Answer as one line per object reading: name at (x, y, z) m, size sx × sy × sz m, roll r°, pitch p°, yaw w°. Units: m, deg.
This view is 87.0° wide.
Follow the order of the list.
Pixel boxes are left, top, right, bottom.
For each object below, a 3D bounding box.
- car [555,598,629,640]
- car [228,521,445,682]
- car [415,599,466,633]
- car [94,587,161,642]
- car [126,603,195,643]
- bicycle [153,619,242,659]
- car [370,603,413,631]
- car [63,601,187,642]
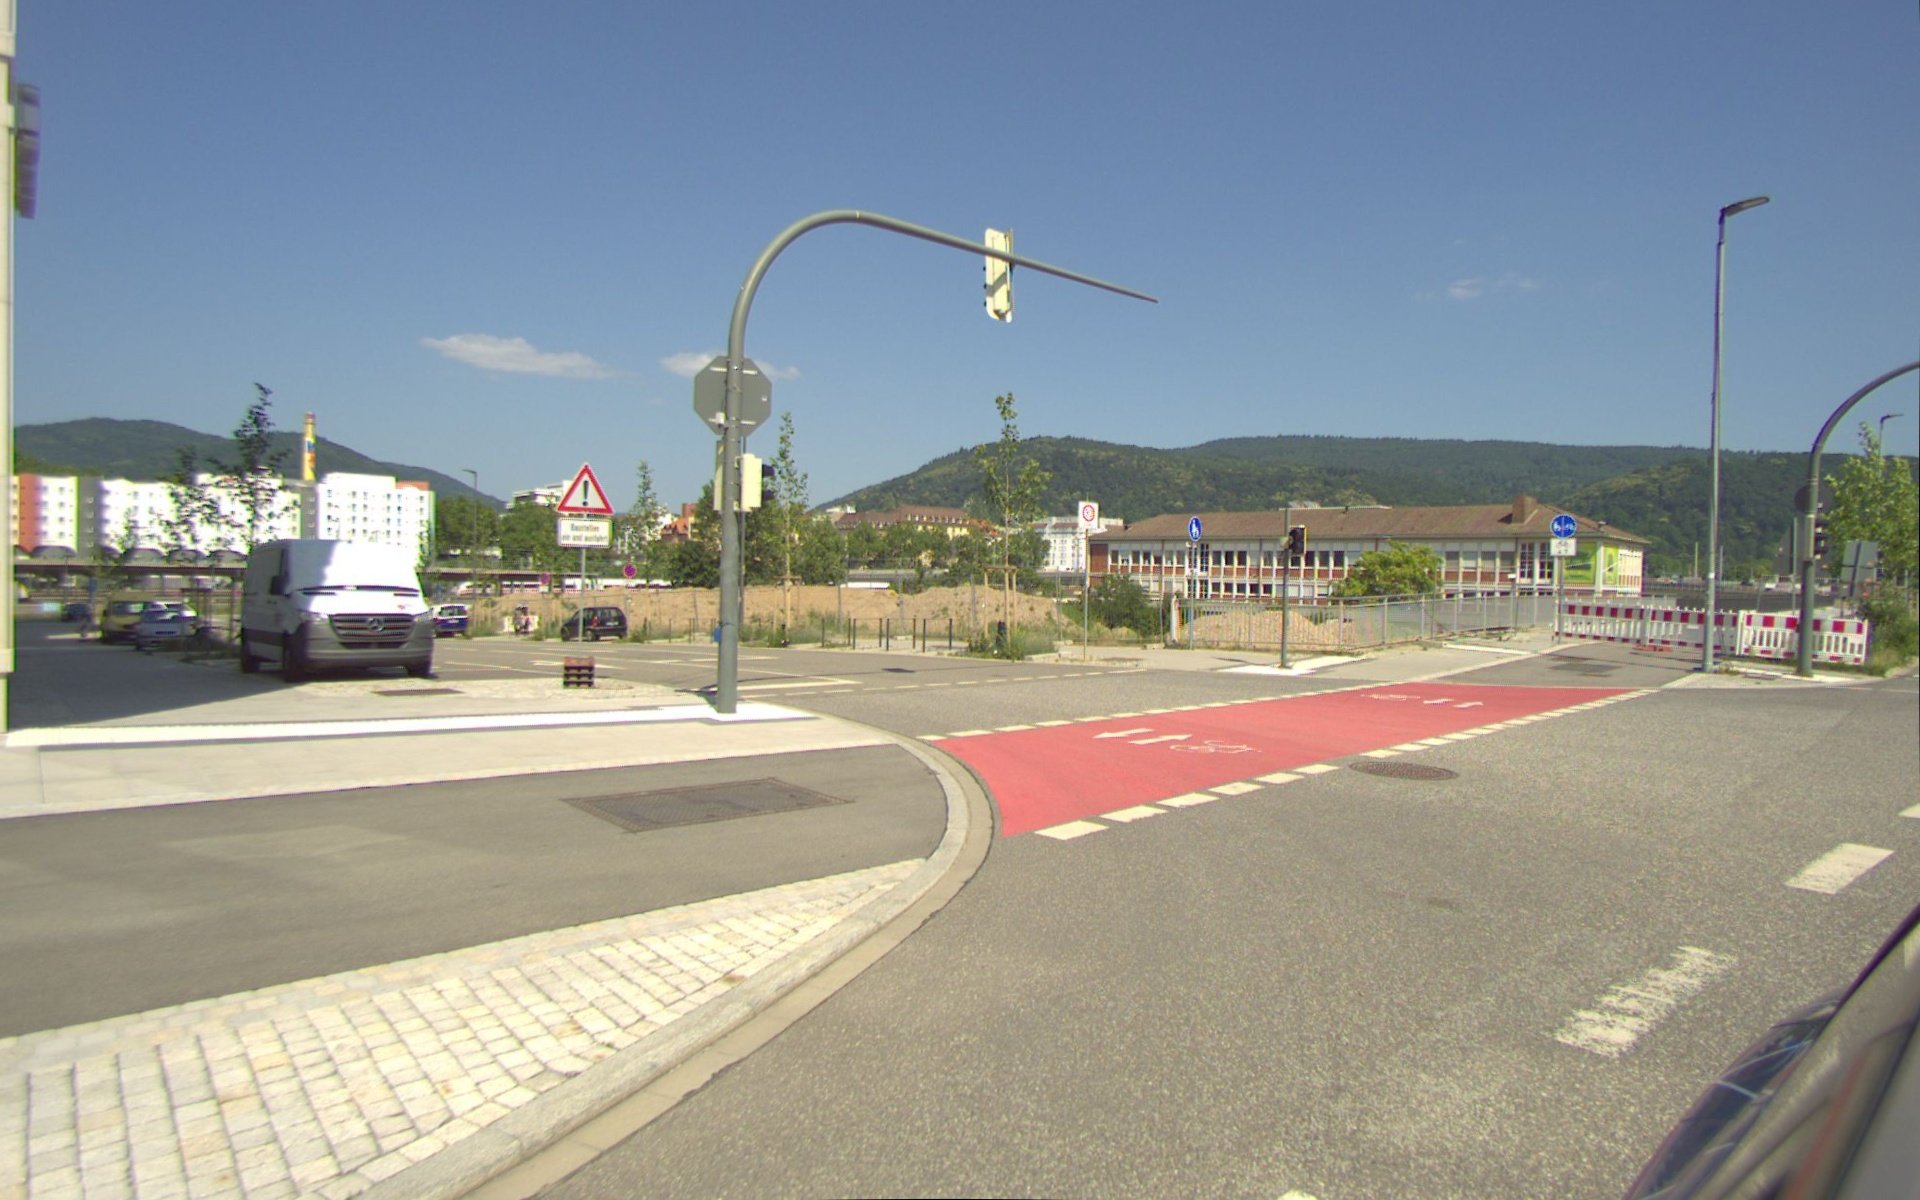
car at (-15.327, 0.741, 42.061) m, size 1.629 × 1.614 × 3.686 m, roll 0°, pitch 1°, yaw -42°
car at (-10.841, 0.037, 17.347) m, size 2.110 × 2.299 × 5.843 m, roll 0°, pitch 0°, yaw -42°
car at (-29.130, 0.896, 56.724) m, size 1.629 × 1.644 × 3.684 m, roll 0°, pitch -4°, yaw -42°
car at (-41.132, 0.761, 49.950) m, size 2.044 × 2.506 × 6.130 m, roll 0°, pitch -2°, yaw -44°
car at (-30.964, 0.900, 39.164) m, size 1.742 × 1.418 × 3.658 m, roll -1°, pitch -2°, yaw -45°
bicycle at (-21.133, 1.074, 28.067) m, size 1.951 × 1.005 × 0.709 m, roll -1°, pitch 1°, yaw -40°
car at (-36.794, 1.110, 65.497) m, size 1.629 × 1.644 × 3.685 m, roll 0°, pitch -2°, yaw -42°
car at (-56.547, 1.446, 68.614) m, size 6.216 × 2.506 × 2.248 m, roll -2°, pitch -1°, yaw -7°
